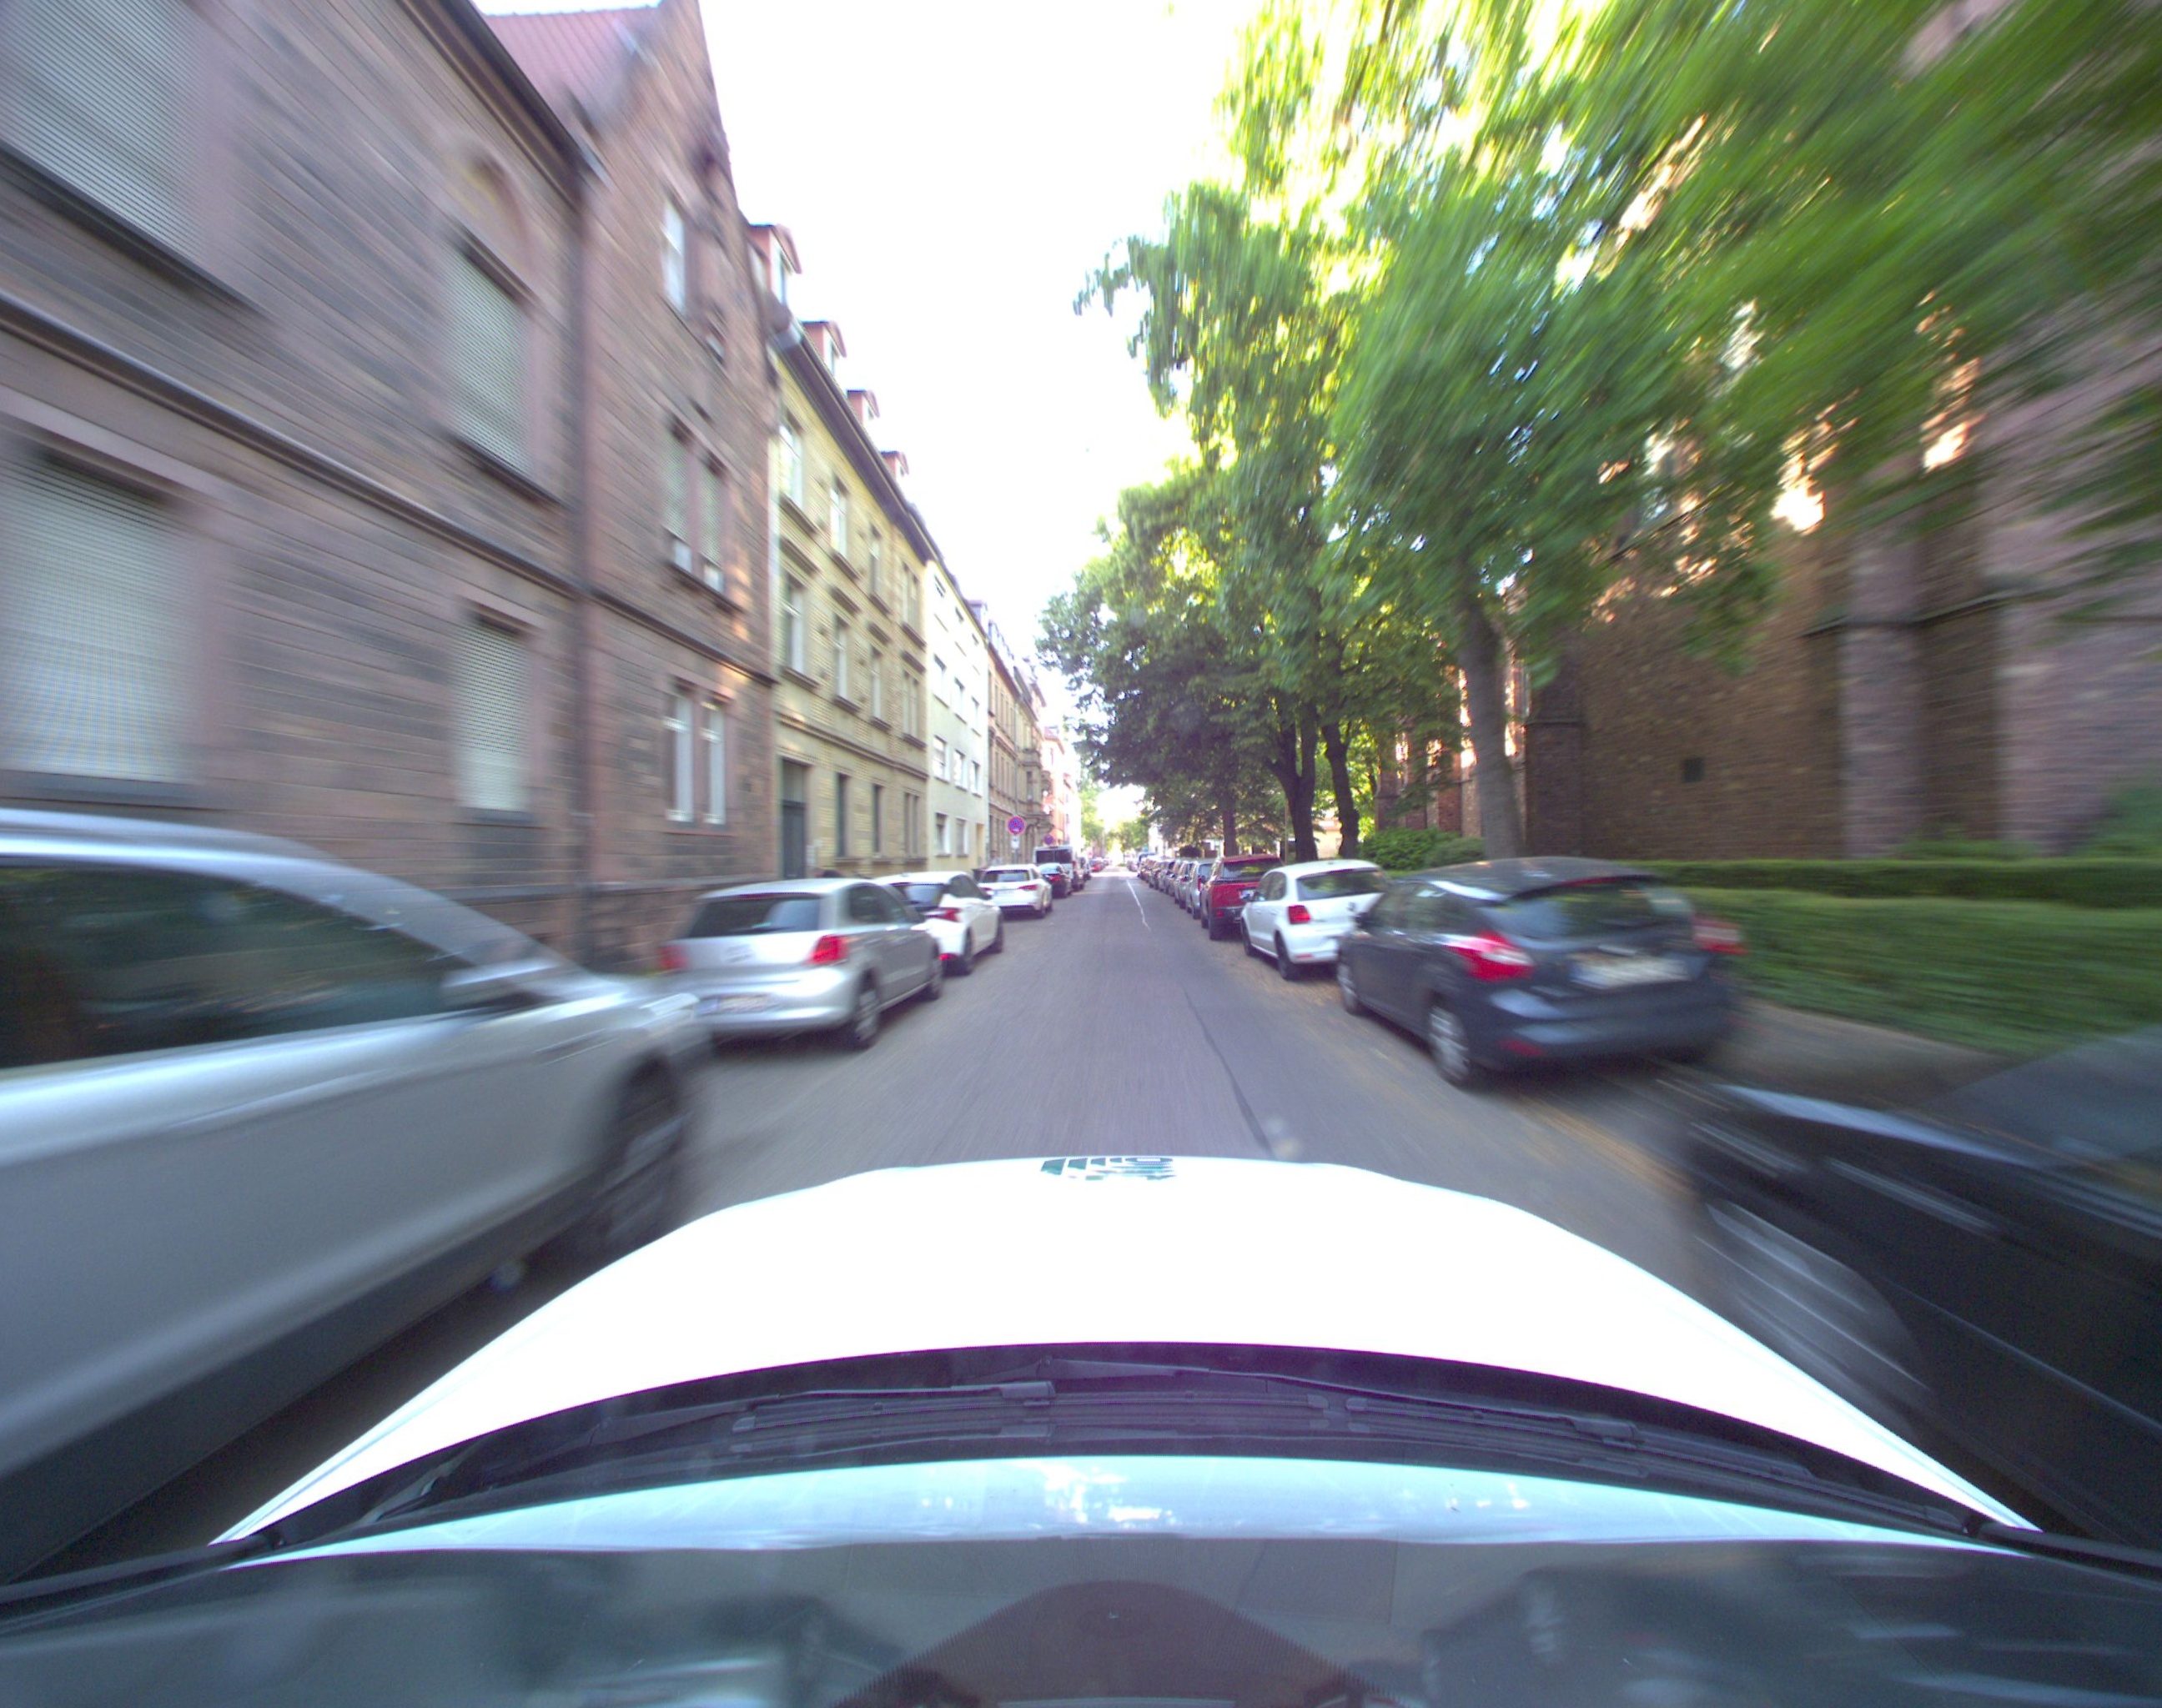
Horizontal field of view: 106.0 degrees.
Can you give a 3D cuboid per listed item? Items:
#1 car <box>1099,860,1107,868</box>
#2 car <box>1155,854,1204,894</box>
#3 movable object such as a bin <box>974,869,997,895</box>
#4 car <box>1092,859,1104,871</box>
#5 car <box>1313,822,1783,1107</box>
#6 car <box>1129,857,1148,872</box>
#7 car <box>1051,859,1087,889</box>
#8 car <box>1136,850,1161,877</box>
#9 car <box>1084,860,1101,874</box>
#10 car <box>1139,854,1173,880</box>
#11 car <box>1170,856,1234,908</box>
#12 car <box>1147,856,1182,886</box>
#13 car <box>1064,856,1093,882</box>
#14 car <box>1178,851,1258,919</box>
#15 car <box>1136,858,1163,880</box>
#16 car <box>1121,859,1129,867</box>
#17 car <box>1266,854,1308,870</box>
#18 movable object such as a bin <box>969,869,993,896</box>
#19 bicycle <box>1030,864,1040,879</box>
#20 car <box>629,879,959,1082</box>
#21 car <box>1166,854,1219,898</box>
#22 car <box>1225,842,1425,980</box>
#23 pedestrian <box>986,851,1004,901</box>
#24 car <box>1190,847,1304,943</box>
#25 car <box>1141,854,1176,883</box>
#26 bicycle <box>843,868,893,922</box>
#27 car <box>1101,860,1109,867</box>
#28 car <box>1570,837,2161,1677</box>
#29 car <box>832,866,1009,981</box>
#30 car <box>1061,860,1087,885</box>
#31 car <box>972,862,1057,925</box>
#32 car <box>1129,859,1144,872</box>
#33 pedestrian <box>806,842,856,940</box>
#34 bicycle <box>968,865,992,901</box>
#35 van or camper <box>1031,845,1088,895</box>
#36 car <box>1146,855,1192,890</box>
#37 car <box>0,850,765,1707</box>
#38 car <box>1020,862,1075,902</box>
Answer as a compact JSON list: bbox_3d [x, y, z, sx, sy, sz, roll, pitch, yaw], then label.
[{"bbox_3d":[4.866,2.157,178.267,1.669,1.487,4.096,-3,0,2],"label":"car"},{"bbox_3d":[4.243,0.846,35.497,1.594,1.505,3.627,-6,-1,0],"label":"car"},{"bbox_3d":[-4.088,1.202,34.869,0.796,1.088,0.667,-1,-2,6],"label":"movable object such as a bin"},{"bbox_3d":[2.570,1.655,124.203,1.758,1.785,4.040,-3,0,2],"label":"car"},{"bbox_3d":[3.309,0.682,6.819,1.657,1.520,4.064,-6,-1,3],"label":"car"},{"bbox_3d":[6.289,1.107,89.557,1.738,1.507,4.356,-3,0,0],"label":"car"},{"bbox_3d":[-0.640,1.076,46.176,1.760,1.514,4.195,-3,0,2],"label":"car"},{"bbox_3d":[5.551,0.748,67.110,1.905,1.998,4.797,-3,0,4],"label":"car"},{"bbox_3d":[1.287,1.427,89.930,1.622,1.481,3.602,-3,0,2],"label":"car"},{"bbox_3d":[5.180,0.933,56.794,1.735,1.603,4.261,-6,-1,-2],"label":"car"},{"bbox_3d":[3.829,0.872,26.218,1.592,1.470,3.872,-4,-1,3],"label":"car"},{"bbox_3d":[4.687,0.955,46.277,1.612,1.486,3.778,-6,-1,2],"label":"car"},{"bbox_3d":[-0.147,1.076,60.521,1.824,1.811,4.574,-3,0,2],"label":"car"},{"bbox_3d":[3.592,0.794,21.917,1.593,1.505,3.723,-6,-1,3],"label":"car"},{"bbox_3d":[5.167,1.107,61.850,1.713,1.571,3.828,-1,-1,1],"label":"car"},{"bbox_3d":[9.762,1.966,179.829,1.669,1.487,3.639,-3,0,2],"label":"car"},{"bbox_3d":[20.105,0.831,79.615,3.832,1.473,1.637,-1,-3,9],"label":"car"},{"bbox_3d":[-4.174,1.193,34.028,0.832,1.088,0.676,-1,-2,5],"label":"movable object such as a bin"},{"bbox_3d":[-3.278,1.215,57.756,0.569,1.041,1.547,1,-1,2],"label":"bicycle"},{"bbox_3d":[-2.512,1.036,8.178,1.701,1.417,3.806,-3,-1,3],"label":"car"},{"bbox_3d":[4.238,0.823,31.408,1.593,1.468,3.566,-6,-1,3],"label":"car"},{"bbox_3d":[3.321,0.733,11.909,1.658,1.520,3.951,-6,-1,1],"label":"car"},{"bbox_3d":[-3.169,0.784,30.052,0.486,1.803,1.115,1,-1,1],"label":"pedestrian"},{"bbox_3d":[3.277,0.770,16.787,1.657,1.586,4.105,-6,-1,4],"label":"car"},{"bbox_3d":[4.829,0.916,51.075,1.614,1.624,3.861,-6,-1,-2],"label":"car"},{"bbox_3d":[-4.901,0.914,18.853,0.568,1.148,1.845,2,0,2],"label":"bicycle"},{"bbox_3d":[5.397,2.208,183.737,1.669,1.487,4.096,-3,0,2],"label":"car"},{"bbox_3d":[2.649,0.673,1.070,1.615,1.436,4.003,-3,-1,1],"label":"car"},{"bbox_3d":[-2.292,0.951,12.616,1.701,1.417,3.806,-3,-1,3],"label":"car"},{"bbox_3d":[-0.474,1.237,55.914,1.687,1.514,3.972,-3,0,0],"label":"car"},{"bbox_3d":[-1.735,1.018,22.706,1.724,1.456,4.524,-3,0,2],"label":"car"},{"bbox_3d":[7.079,1.455,104.538,1.669,1.507,3.939,-3,0,2],"label":"car"},{"bbox_3d":[-5.061,0.734,16.530,0.764,1.928,0.763,-1,-1,-1],"label":"pedestrian"},{"bbox_3d":[-3.692,1.047,29.920,0.568,1.244,1.845,2,0,2],"label":"bicycle"},{"bbox_3d":[-0.972,0.736,39.879,2.167,2.148,5.159,-3,0,4],"label":"van or camper"},{"bbox_3d":[4.252,0.896,39.979,1.670,1.441,4.695,-6,-1,0],"label":"car"},{"bbox_3d":[-2.617,0.889,2.011,1.701,1.674,4.281,-3,-1,3],"label":"car"},{"bbox_3d":[-1.317,1.093,33.511,1.723,1.402,4.320,-3,0,4],"label":"car"}]
